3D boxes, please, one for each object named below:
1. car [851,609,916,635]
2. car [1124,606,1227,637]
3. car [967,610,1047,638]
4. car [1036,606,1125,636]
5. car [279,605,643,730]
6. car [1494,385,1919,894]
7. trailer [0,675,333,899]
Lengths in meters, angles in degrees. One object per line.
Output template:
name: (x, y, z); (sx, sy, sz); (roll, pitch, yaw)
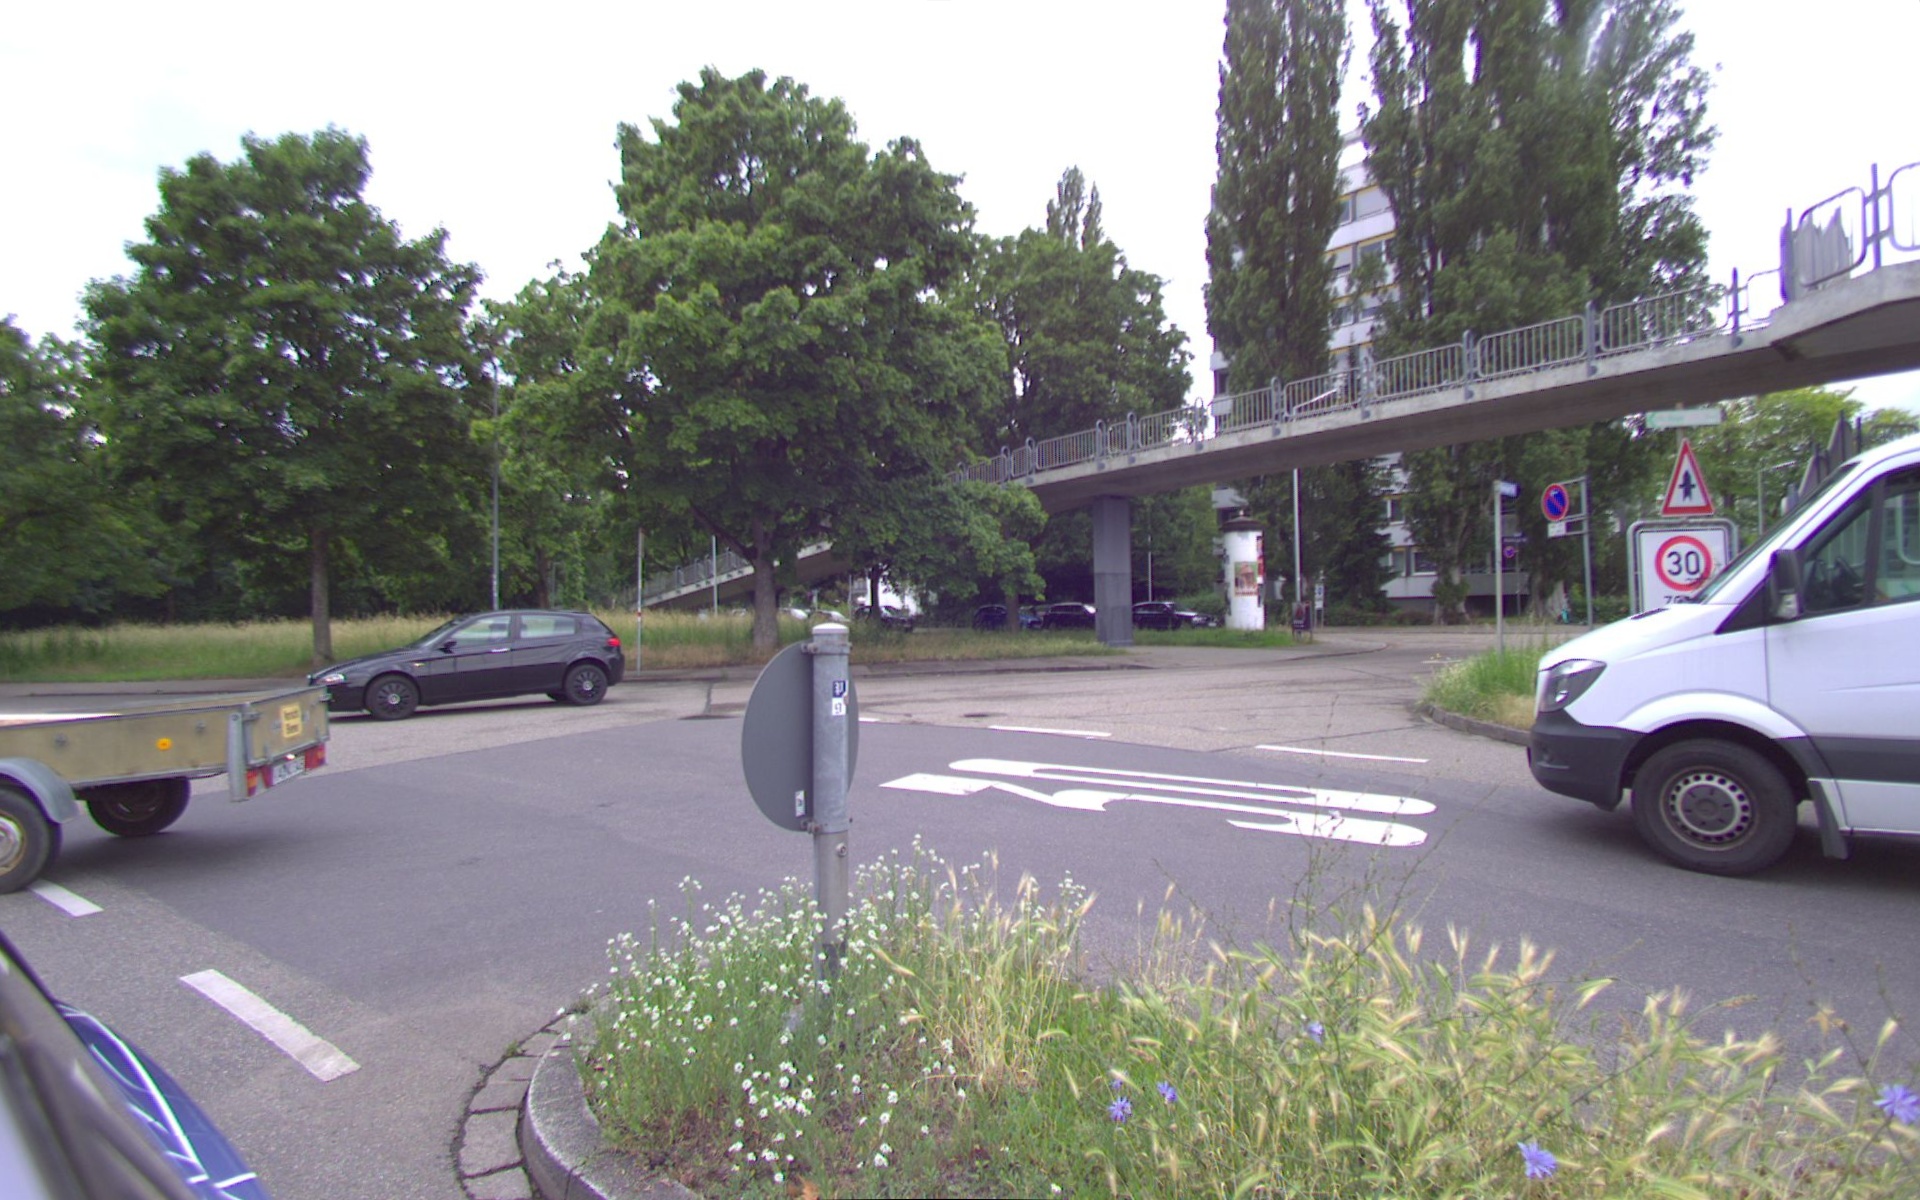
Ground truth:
car: (-4.382, 1.249, 57.458); (1.667, 1.361, 4.007); (-1, 0, -39)
car: (8.887, 0.886, 41.942); (1.667, 1.214, 4.007); (-1, 0, -39)
car: (2.287, 1.179, 49.886); (1.667, 1.247, 4.007); (-1, 0, -39)
car: (5.437, 0.947, 46.173); (1.667, 1.256, 4.007); (-1, 0, -39)
car: (-7.094, 0.856, 14.574); (4.465, 1.468, 1.808); (-1, 0, -35)
car: (5.694, 0.162, 4.814); (5.206, 2.310, 2.111); (-2, -1, 42)
trailer: (-5.701, 1.028, 5.705); (3.405, 0.993, 1.577); (0, 0, -17)
